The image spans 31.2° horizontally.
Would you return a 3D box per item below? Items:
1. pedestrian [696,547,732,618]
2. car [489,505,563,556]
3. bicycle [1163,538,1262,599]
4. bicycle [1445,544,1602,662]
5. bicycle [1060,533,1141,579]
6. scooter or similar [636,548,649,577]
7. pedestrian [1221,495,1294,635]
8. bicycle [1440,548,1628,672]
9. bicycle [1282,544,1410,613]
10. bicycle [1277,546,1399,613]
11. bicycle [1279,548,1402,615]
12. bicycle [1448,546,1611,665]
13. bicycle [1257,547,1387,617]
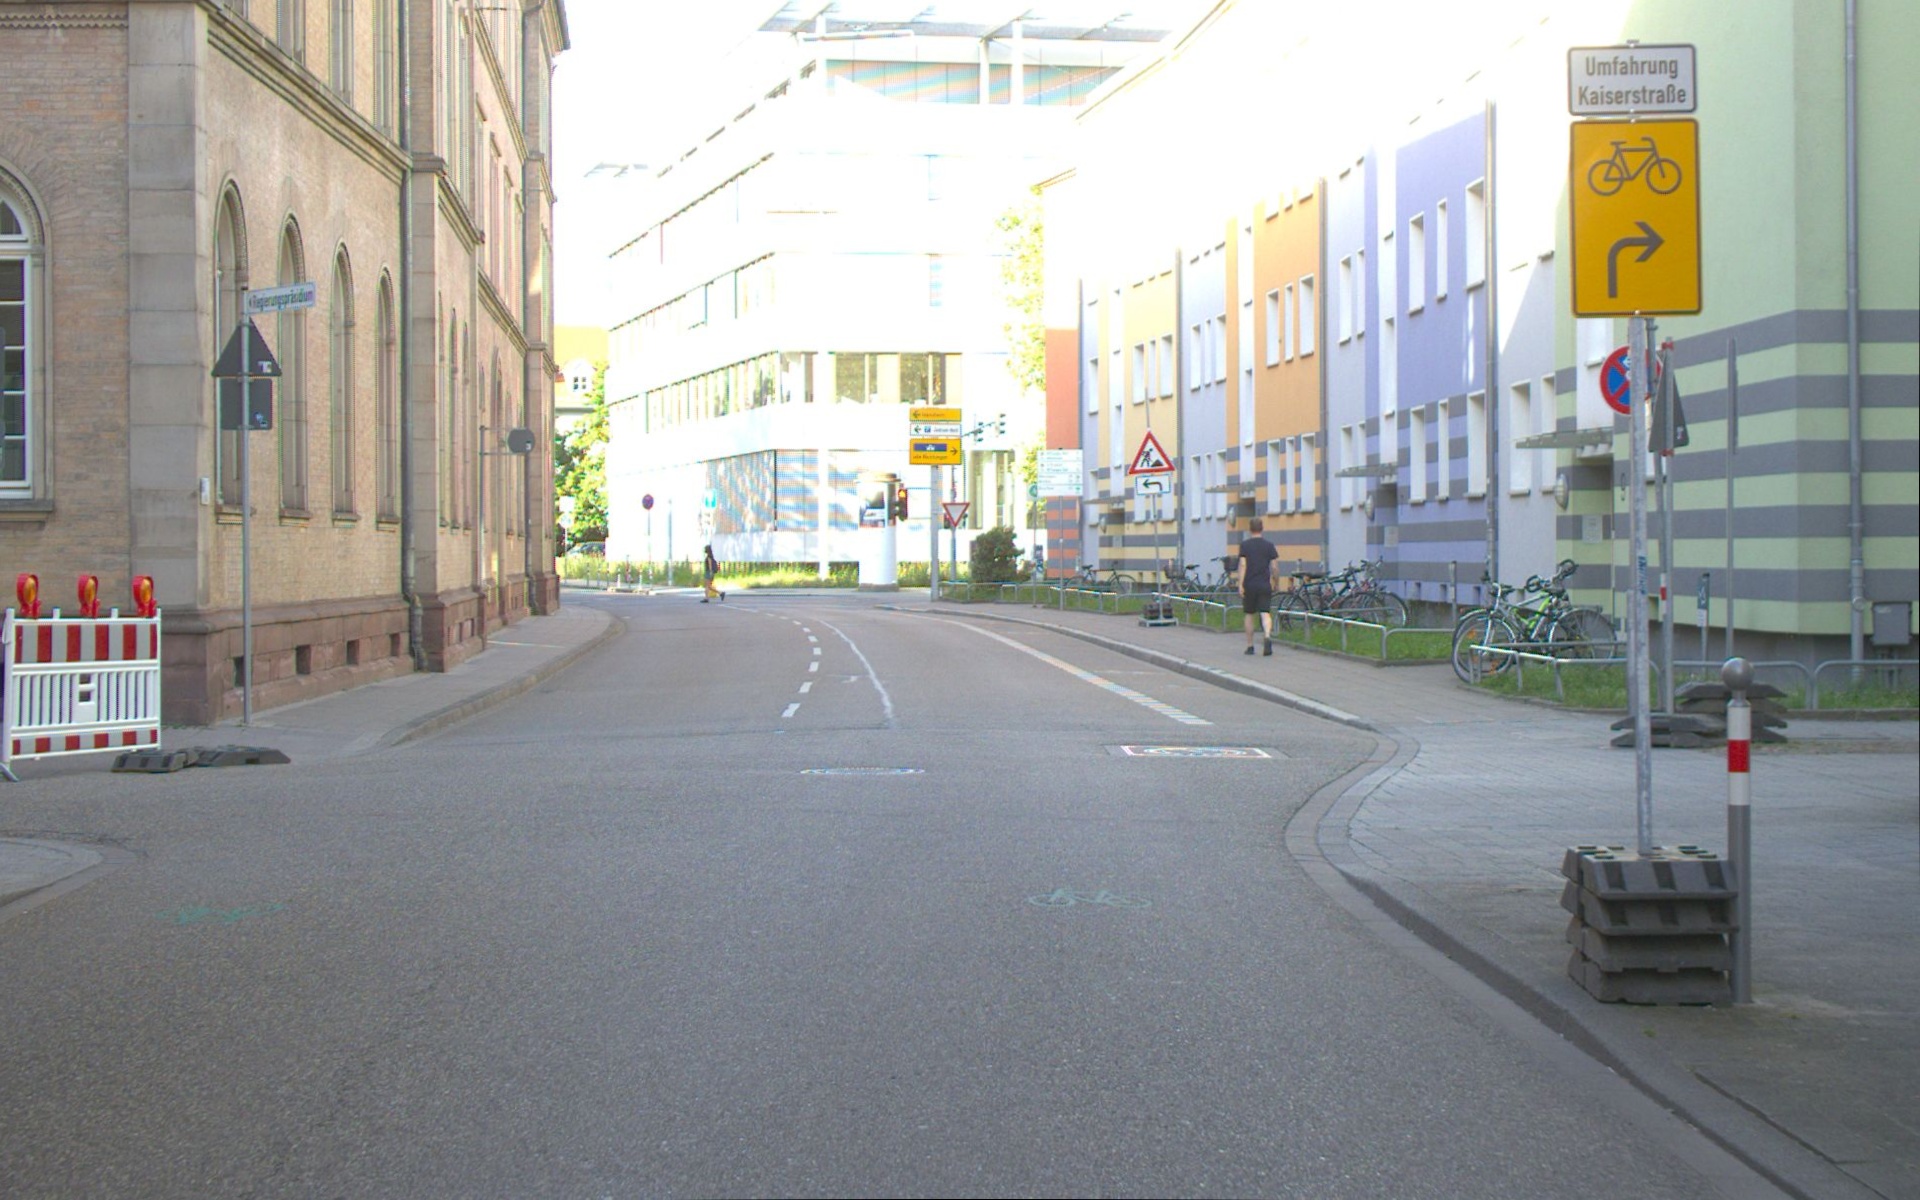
[{"bbox_3d":[-6.978,-0.500,97.542,0.895,2.007,0.753,-1,1,-10],"label":"pedestrian"},{"bbox_3d":[-18.580,-2.951,147.031,2.423,2.105,5.233,1,0,-15],"label":"car"},{"bbox_3d":[4.803,-0.608,65.471,1.810,1.133,0.552,-1,1,-4],"label":"bicycle"},{"bbox_3d":[5.995,0.030,36.593,1.602,1.137,0.237,-4,2,-11],"label":"bicycle"},{"bbox_3d":[3.250,-1.011,79.664,1.753,1.000,0.613,-2,1,-7],"label":"bicycle"},{"bbox_3d":[-11.931,-1.407,129.152,0.325,1.056,1.143,-1,1,-14],"label":"scooter or similar"},{"bbox_3d":[3.836,-0.456,44.381,0.696,1.754,1.189,-3,1,-2],"label":"pedestrian"},{"bbox_3d":[5.821,0.096,34.900,1.748,1.137,0.552,-4,2,-3],"label":"bicycle"},{"bbox_3d":[5.569,-0.317,49.601,1.748,0.943,0.552,-2,1,-3],"label":"bicycle"},{"bbox_3d":[5.608,-0.304,51.075,1.748,0.943,0.335,-2,1,-3],"label":"bicycle"},{"bbox_3d":[5.596,-0.275,50.609,1.748,0.943,0.326,-2,1,-2],"label":"bicycle"},{"bbox_3d":[6.021,0.051,36.317,1.640,1.137,0.283,-4,2,-11],"label":"bicycle"},{"bbox_3d":[5.134,-0.259,48.811,1.748,0.943,0.552,-2,1,-3],"label":"bicycle"}]
